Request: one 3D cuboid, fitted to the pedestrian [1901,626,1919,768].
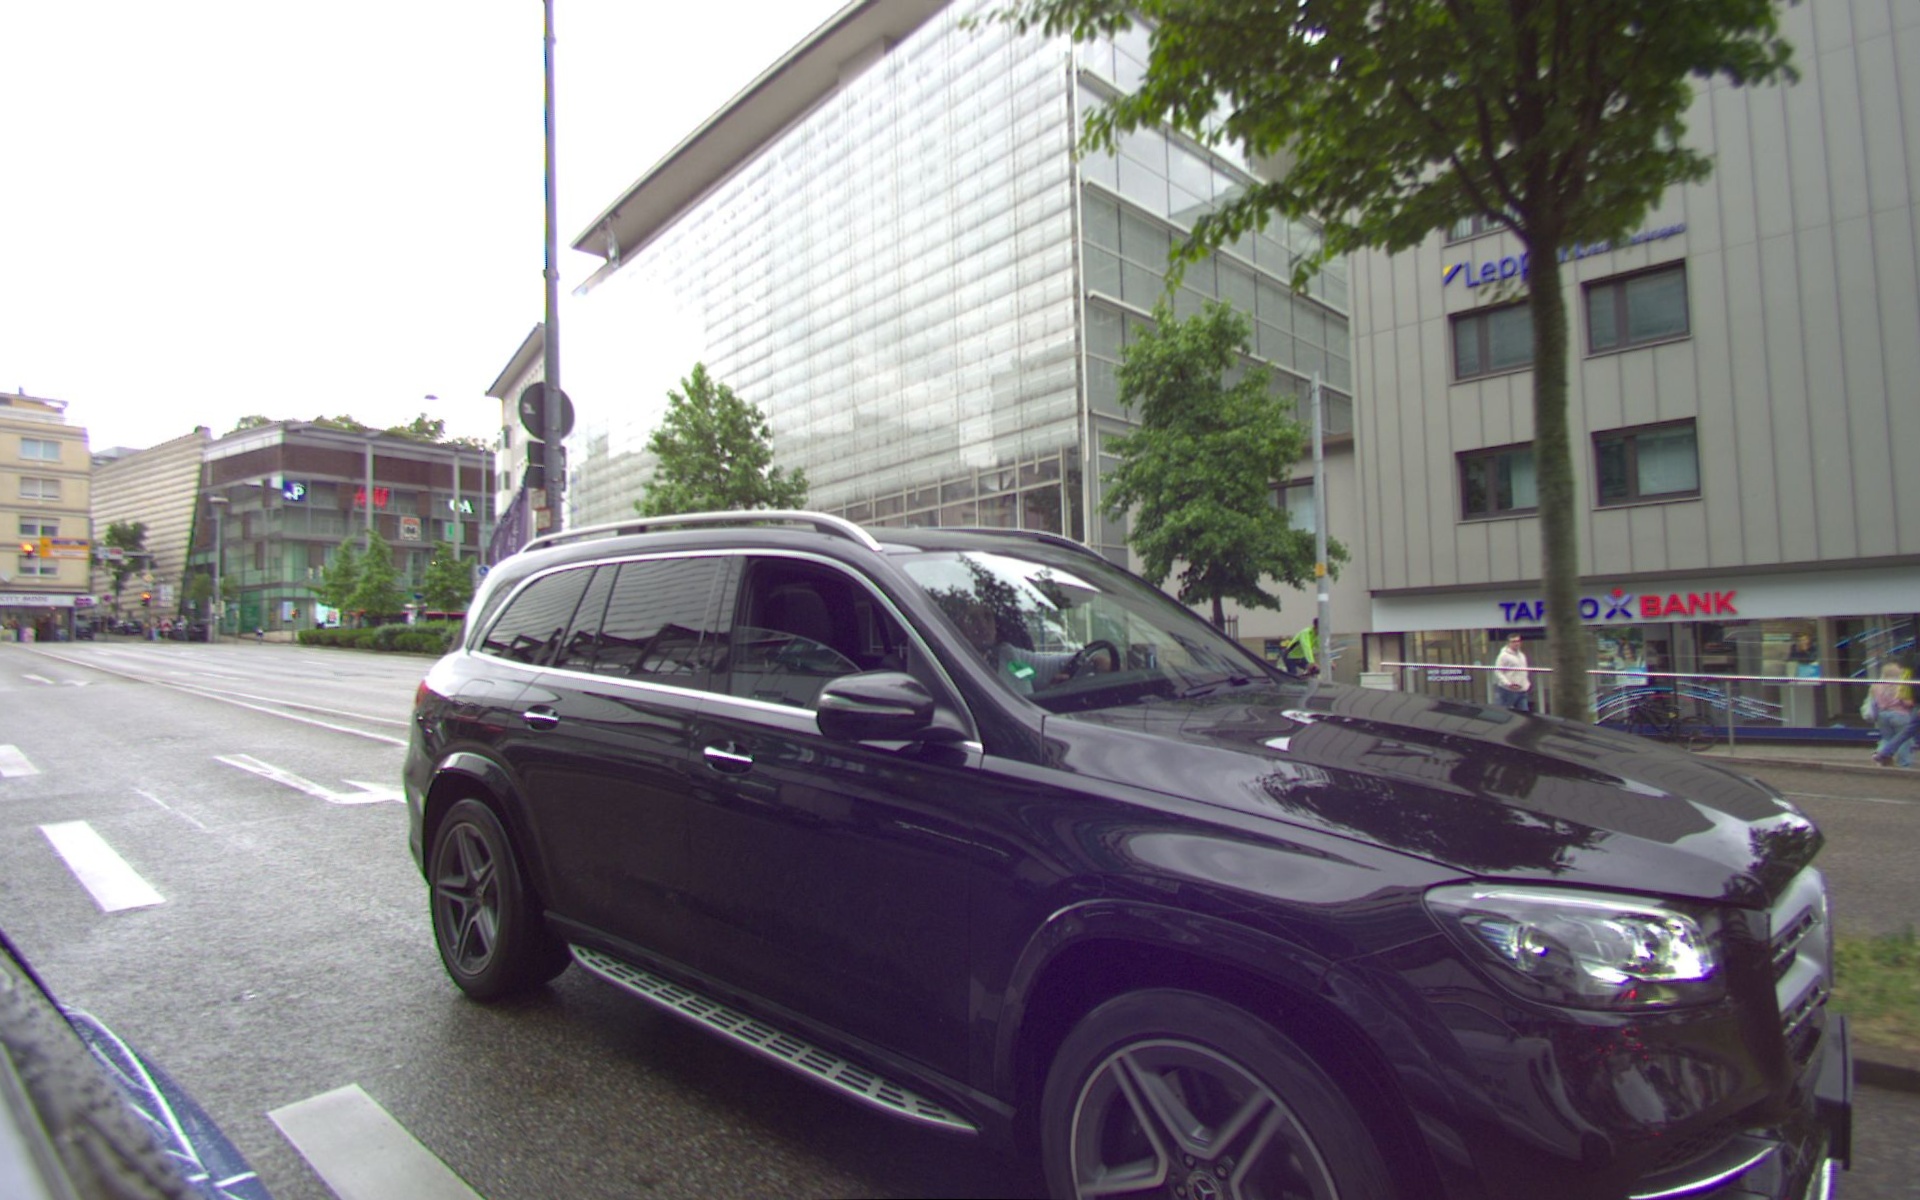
[{"bbox_3d":[12.107,1.175,12.257,0.963,1.693,0.700,0,0,38],"label":"pedestrian"}]

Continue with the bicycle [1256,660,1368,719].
[{"bbox_3d":[6.631,1.666,19.134,0.608,1.008,1.942,3,-3,-45],"label":"bicycle"}]

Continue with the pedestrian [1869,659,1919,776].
[{"bbox_3d":[14.398,1.777,15.486,0.709,1.693,0.740,0,0,43],"label":"pedestrian"}]

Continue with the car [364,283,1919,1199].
[{"bbox_3d":[-0.104,0.581,3.480,5.071,1.884,1.891,0,0,42],"label":"car"}]

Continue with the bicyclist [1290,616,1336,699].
[{"bbox_3d":[6.659,1.072,19.115,0.624,1.542,0.610,3,-3,-44],"label":"bicyclist"}]

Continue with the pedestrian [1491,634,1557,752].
[{"bbox_3d":[8.972,1.451,16.108,0.543,1.797,0.752,0,0,-37],"label":"pedestrian"}]
